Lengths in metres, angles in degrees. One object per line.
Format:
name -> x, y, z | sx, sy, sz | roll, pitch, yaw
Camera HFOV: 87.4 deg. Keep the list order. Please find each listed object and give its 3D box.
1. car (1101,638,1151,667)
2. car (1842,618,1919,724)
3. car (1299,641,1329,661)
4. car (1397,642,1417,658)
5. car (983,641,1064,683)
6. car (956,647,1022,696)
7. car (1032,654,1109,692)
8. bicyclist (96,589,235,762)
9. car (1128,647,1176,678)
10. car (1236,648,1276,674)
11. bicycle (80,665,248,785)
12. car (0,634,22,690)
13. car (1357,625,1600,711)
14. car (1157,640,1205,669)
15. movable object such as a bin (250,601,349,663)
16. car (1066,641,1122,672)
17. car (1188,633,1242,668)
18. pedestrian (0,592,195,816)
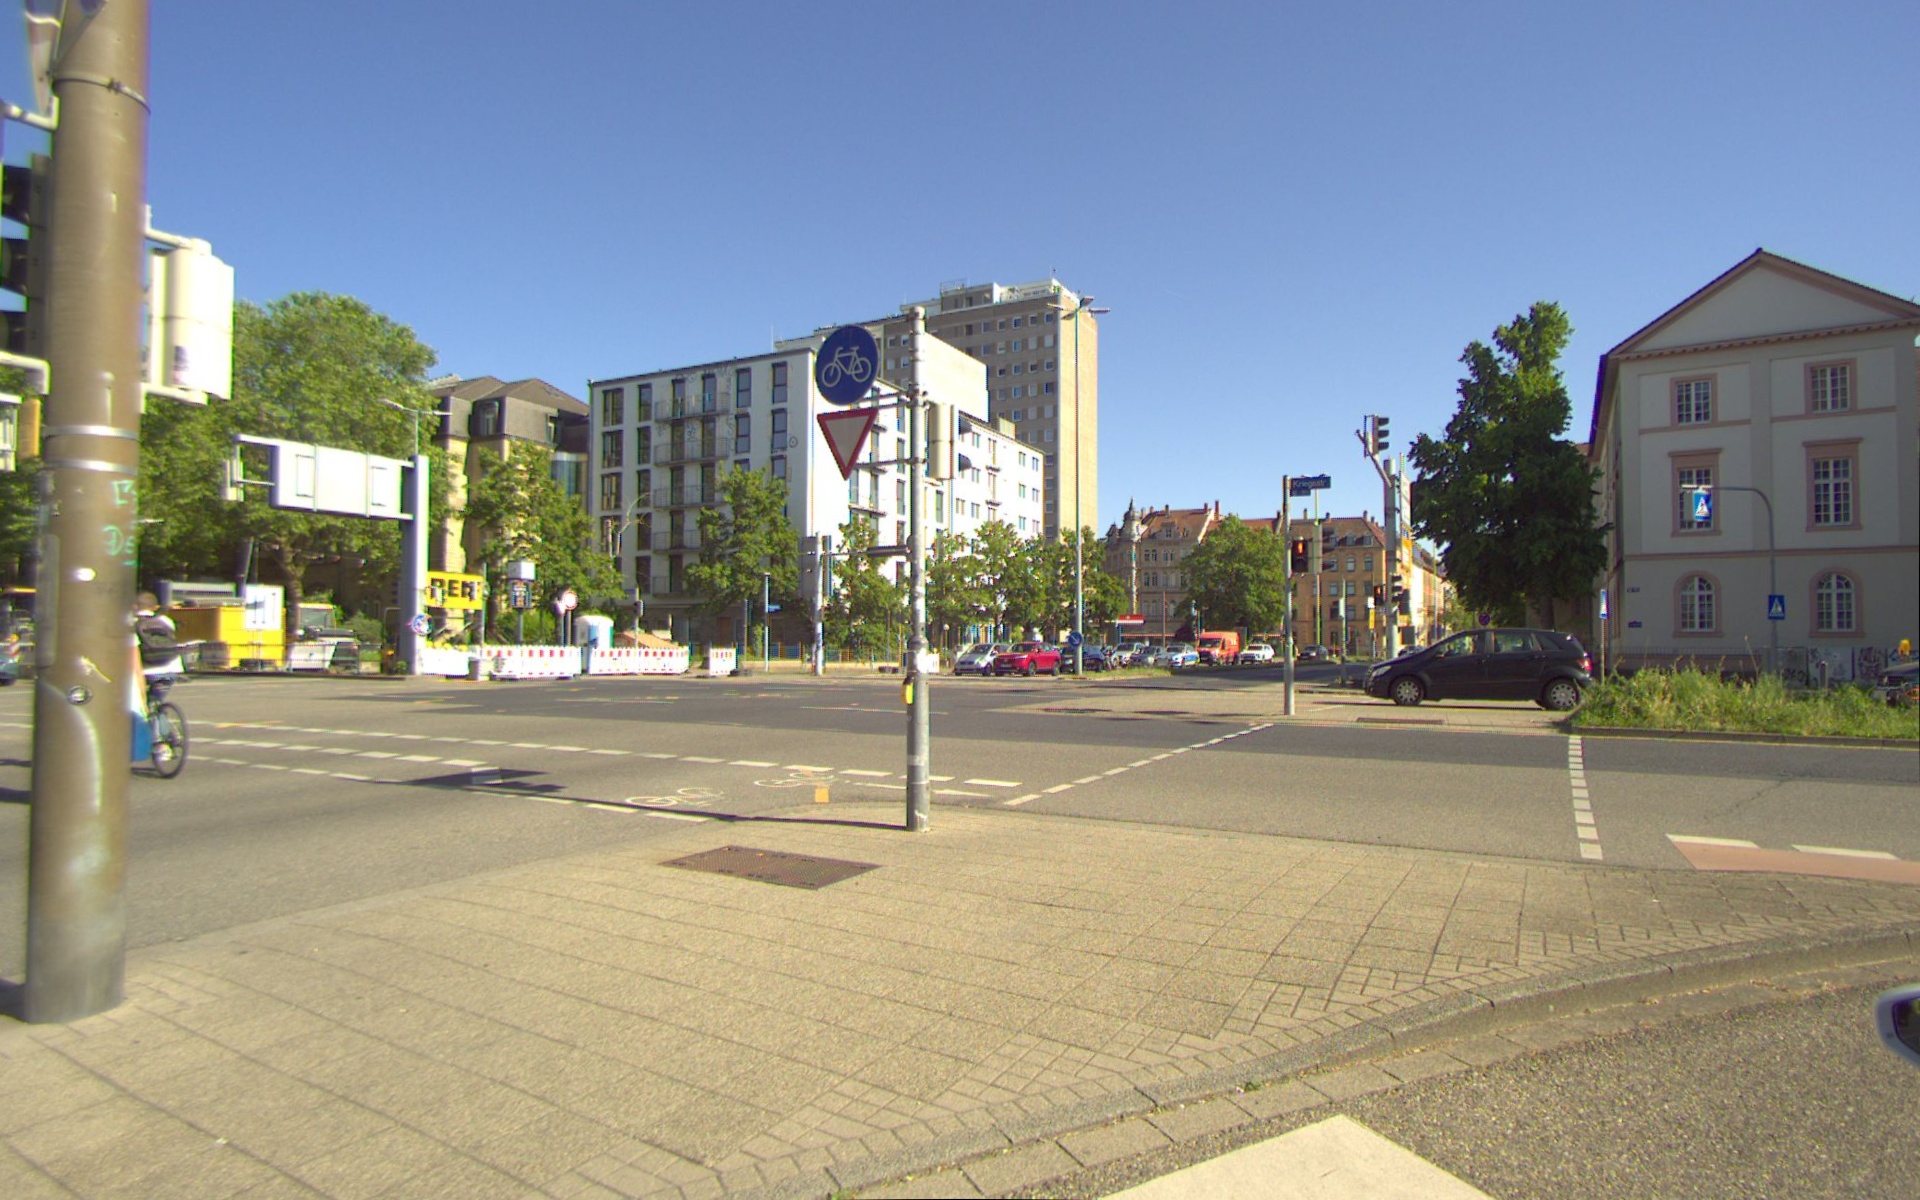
car -> 10.818, 3.372, 65.323 | 1.885, 1.639, 3.992 | 2, 0, 30
car -> 15.892, 1.034, 14.583 | 4.264, 1.539, 1.800 | 0, -1, 25
car -> 33.853, 4.863, 95.926 | 1.965, 1.839, 3.992 | -1, -2, 31
car -> 51.740, 5.780, 116.281 | 1.820, 1.728, 3.994 | -1, -2, 29
car -> 2.909, 2.758, 45.226 | 1.886, 1.639, 3.989 | 2, 0, 34
car -> 1.433, 3.396, 48.264 | 1.961, 2.040, 4.000 | 2, 0, 20
car -> 5.674, 3.663, 51.018 | 1.886, 1.639, 4.698 | 2, 0, 34
bicyclist -> -7.620, 0.690, 9.638 | 0.840, 1.554, 0.867 | 0, -1, 39
car -> 11.351, 3.657, 59.190 | 1.534, 1.639, 3.992 | 2, 0, 30
car -> 24.484, 5.008, 83.077 | 1.886, 1.838, 4.699 | 2, 0, 33
bicycle -> -7.699, 1.148, 9.692 | 1.873, 1.003, 0.863 | -2, -2, 39
car -> -29.977, 1.788, 30.036 | 3.931, 1.539, 1.880 | 2, 0, 32
car -> 10.423, 1.335, 20.518 | 4.197, 1.606, 1.862 | -1, -2, 24
car -> 14.316, 3.509, 64.896 | 1.883, 1.639, 4.706 | 2, 0, 27
movable object such as a bin -> -29.218, 1.372, 44.426 | 3.927, 2.508, 1.997 | 2, 0, 29
car -> 8.035, 3.364, 60.015 | 1.885, 1.639, 3.992 | 2, 0, 30
car -> 18.381, 3.590, 72.203 | 1.886, 2.260, 5.884 | 2, 0, 33
pedestrian -> -6.680, 0.772, 7.759 | 0.913, 1.629, 0.785 | 2, 0, -9
